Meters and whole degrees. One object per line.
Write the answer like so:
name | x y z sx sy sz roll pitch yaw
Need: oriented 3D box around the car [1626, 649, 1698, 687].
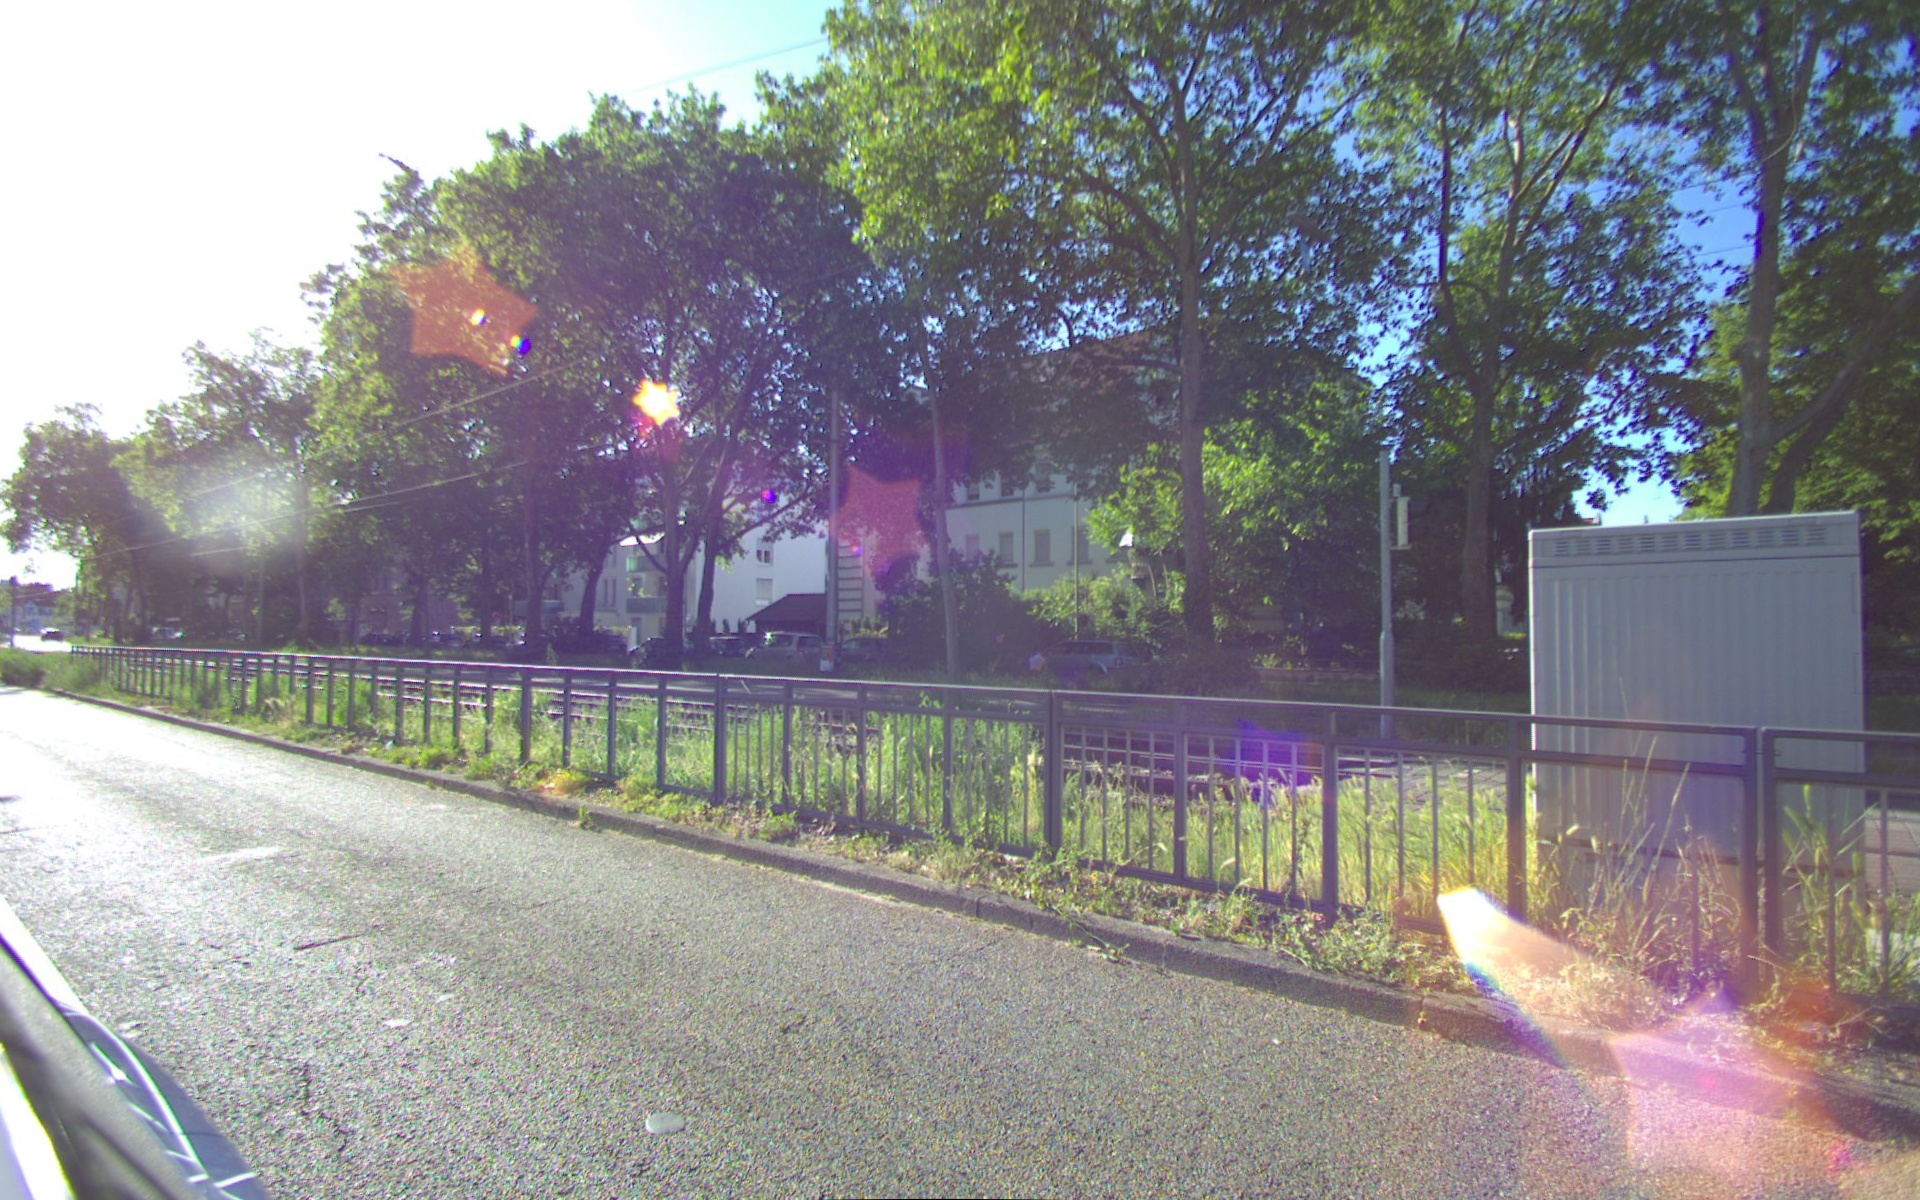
car | 29.024 2.766 41.784 1.999 1.429 3.945 -2 -3 41

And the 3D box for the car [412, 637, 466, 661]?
car | -33.678 3.152 65.423 3.998 1.484 1.778 -2 -3 41

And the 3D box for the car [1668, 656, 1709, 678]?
car | 40.381 3.681 56.101 1.531 1.127 3.083 -2 -3 41

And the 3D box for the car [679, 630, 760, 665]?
car | -10.832 2.120 45.511 3.696 1.476 1.756 -2 -3 42

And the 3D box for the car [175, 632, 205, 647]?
car | -78.669 4.070 103.330 3.687 1.497 1.748 -2 -2 42

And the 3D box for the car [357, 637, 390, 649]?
car | -41.527 3.035 71.668 3.058 0.883 1.094 -2 -3 41

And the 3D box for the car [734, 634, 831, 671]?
car | -7.503 2.179 42.648 4.317 1.451 1.717 -2 -3 42

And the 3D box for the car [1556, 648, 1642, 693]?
car | 22.940 2.477 36.296 1.999 1.429 3.945 -2 -3 41

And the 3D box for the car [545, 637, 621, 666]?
car | -19.762 2.658 52.987 4.317 1.464 1.972 -2 -3 42

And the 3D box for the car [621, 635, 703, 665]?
car | -14.388 2.401 48.718 4.459 1.334 1.623 -2 -5 42

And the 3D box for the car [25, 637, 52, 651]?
car | -112.617 5.358 123.688 4.456 1.660 1.839 -2 -3 40

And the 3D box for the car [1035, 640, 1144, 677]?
car | 4.148 1.867 32.565 3.213 1.125 1.458 -2 -3 38

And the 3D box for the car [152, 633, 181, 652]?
car | -86.008 4.593 109.718 1.970 2.029 4.002 2 -3 -45
